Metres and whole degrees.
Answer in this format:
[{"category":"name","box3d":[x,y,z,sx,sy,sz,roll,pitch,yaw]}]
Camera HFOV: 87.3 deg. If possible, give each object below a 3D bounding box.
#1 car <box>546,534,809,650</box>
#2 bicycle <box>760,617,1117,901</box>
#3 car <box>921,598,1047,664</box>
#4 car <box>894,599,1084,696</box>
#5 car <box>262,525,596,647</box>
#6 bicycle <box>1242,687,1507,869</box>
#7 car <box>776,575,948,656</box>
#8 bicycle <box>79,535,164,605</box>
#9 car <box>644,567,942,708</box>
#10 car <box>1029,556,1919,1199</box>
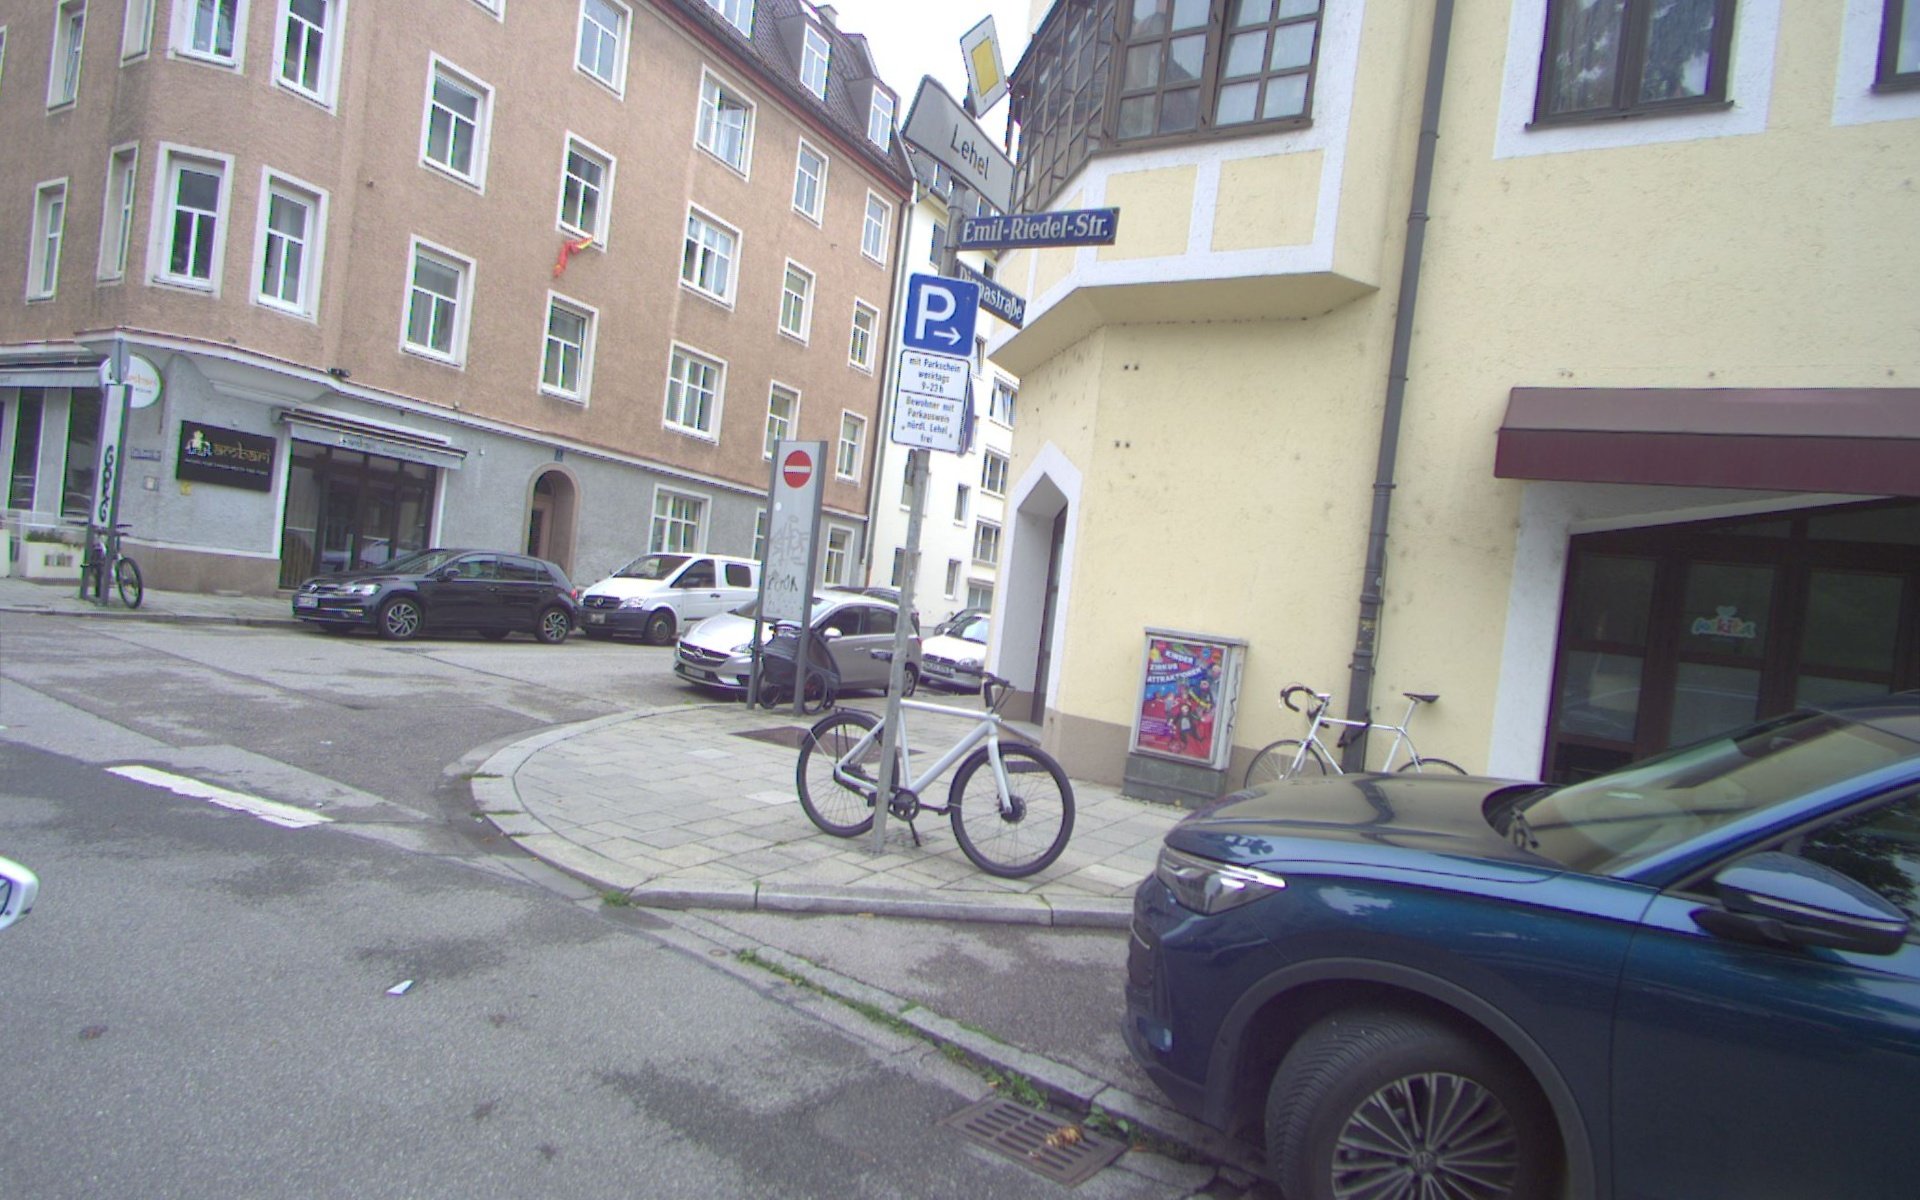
[{"category":"car","box3d":[-5.602,-0.069,20.733,2.065,1.876,5.136,5,-1,30]},{"category":"bicycle","box3d":[-0.175,0.828,5.777,1.963,1.222,0.514,7,0,32]},{"category":"car","box3d":[0.846,1.028,31.814,2.065,1.707,4.355,5,-1,30]},{"category":"car","box3d":[0.654,0.927,18.730,1.717,1.394,3.812,9,1,32]},{"category":"car","box3d":[-8.063,-0.140,15.705,1.893,1.446,4.177,5,-2,30]},{"category":"bicycle","box3d":[2.963,1.242,7.281,1.656,0.989,0.271,7,0,30]},{"category":"car","box3d":[-2.432,0.467,26.164,2.065,1.707,4.616,5,-1,30]},{"category":"bicycle","box3d":[-11.615,-0.414,13.926,1.304,0.815,0.457,7,0,32]},{"category":"car","box3d":[-2.135,0.576,13.996,1.717,1.475,4.042,9,1,32]},{"category":"car","box3d":[2.629,0.986,2.488,4.435,1.701,1.820,7,1,31]}]
